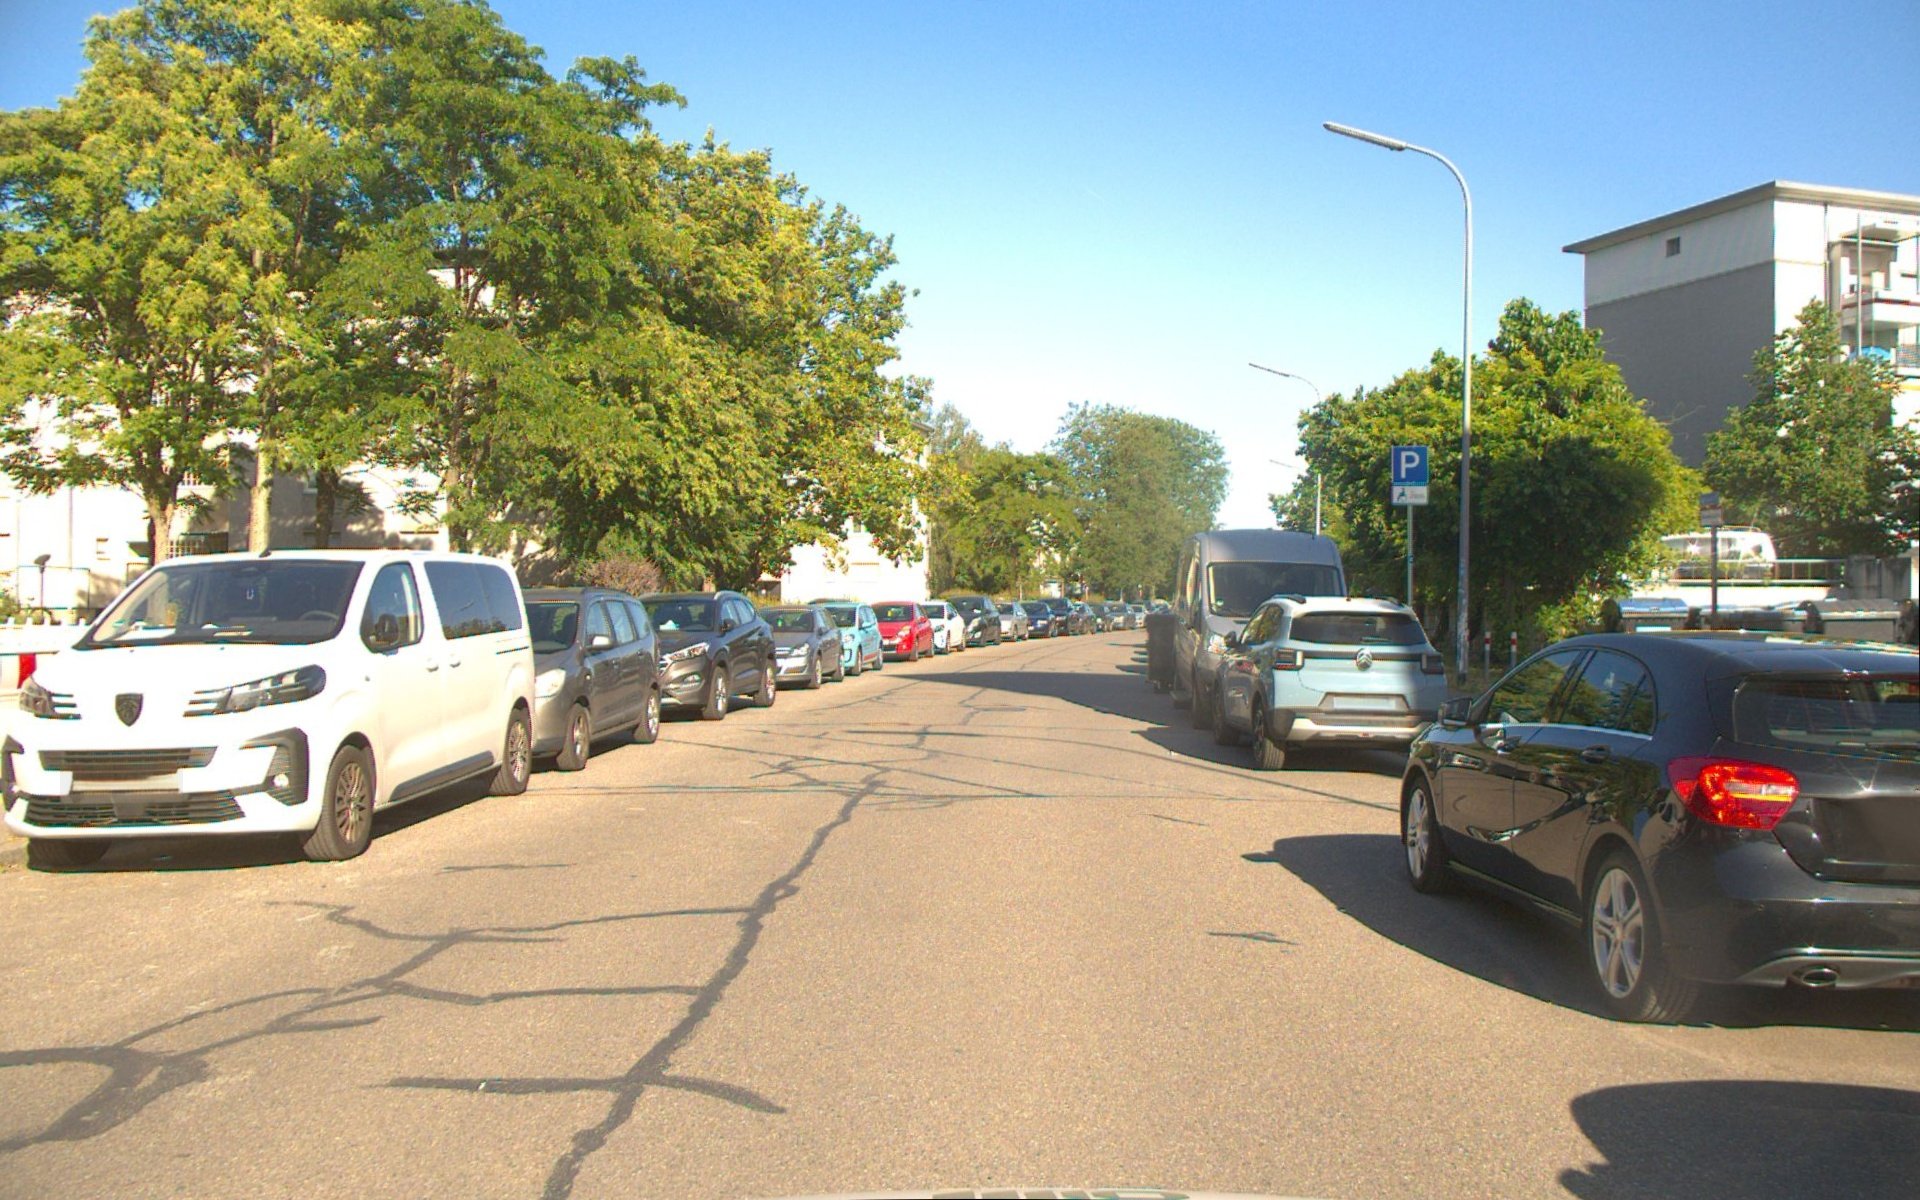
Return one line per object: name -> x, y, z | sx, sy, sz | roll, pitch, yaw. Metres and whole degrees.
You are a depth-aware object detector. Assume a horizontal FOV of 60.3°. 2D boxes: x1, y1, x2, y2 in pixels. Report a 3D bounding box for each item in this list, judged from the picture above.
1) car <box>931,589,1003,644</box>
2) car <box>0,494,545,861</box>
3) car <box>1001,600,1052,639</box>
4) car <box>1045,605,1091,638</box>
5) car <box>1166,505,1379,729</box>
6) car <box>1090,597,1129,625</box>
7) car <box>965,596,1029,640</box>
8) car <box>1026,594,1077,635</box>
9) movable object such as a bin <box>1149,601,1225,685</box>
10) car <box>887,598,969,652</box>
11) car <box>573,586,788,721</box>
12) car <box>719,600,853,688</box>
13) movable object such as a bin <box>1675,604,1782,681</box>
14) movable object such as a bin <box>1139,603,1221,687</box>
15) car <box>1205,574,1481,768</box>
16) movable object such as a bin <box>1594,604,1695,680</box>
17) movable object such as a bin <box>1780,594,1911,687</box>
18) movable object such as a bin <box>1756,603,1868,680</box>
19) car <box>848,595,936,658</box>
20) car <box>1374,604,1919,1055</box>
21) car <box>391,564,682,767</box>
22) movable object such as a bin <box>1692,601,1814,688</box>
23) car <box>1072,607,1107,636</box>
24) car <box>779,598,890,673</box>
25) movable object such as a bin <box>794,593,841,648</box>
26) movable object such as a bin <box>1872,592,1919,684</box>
car -> 0.270, 0.537, 54.054 | 1.634, 1.696, 4.410 | -1, -1, 10
car -> -4.415, 0.424, 11.339 | 1.825, 1.995, 4.672 | 0, 0, 2
car -> 2.684, 0.778, 66.039 | 1.625, 1.451, 4.052 | -1, -1, 7
car -> 5.020, 0.981, 76.437 | 1.624, 1.464, 3.763 | -2, -1, 11
car -> 3.984, 0.209, 22.095 | 2.060, 2.530, 5.858 | 2, 0, 4
car -> 8.227, 0.581, 90.990 | 1.477, 1.477, 3.693 | -2, -1, 15
car -> 1.385, 0.661, 60.425 | 1.624, 1.512, 4.056 | -2, -1, 11
car -> 3.972, 0.620, 71.345 | 1.624, 1.718, 4.052 | -1, -1, 11
movable object such as a bin -> 3.965, 0.735, 28.820 | 1.202, 1.421, 1.171 | 0, -1, 13
car -> -0.872, 0.703, 47.522 | 1.634, 1.446, 3.904 | -1, -1, 10
car -> -3.667, 0.656, 22.482 | 1.711, 1.646, 4.366 | 0, 0, 7
car -> -3.085, 0.762, 30.086 | 1.635, 1.462, 4.002 | -1, -1, 5
movable object such as a bin -> 13.704, 0.755, 29.555 | 1.382, 1.328, 1.383 | -1, -1, 9
movable object such as a bin -> 3.687, 0.740, 27.682 | 1.242, 1.336, 1.123 | -1, 1, 13
car -> 3.693, 0.637, 16.743 | 1.870, 1.695, 4.375 | 0, 0, 1
movable object such as a bin -> 12.298, 0.752, 29.769 | 1.382, 1.328, 1.383 | -1, -1, 9
movable object such as a bin -> 13.892, 0.624, 26.005 | 1.396, 1.397, 1.383 | -1, -1, 9
movable object such as a bin -> 15.104, 0.734, 29.367 | 1.382, 1.328, 1.383 | -1, -1, 9
car -> -1.690, 0.659, 42.151 | 1.635, 1.500, 3.681 | -1, -1, 7
car -> 3.381, 0.786, 7.752 | 1.870, 1.514, 4.375 | 0, 0, 1
car -> -4.037, 0.565, 16.485 | 1.523, 1.752, 4.342 | 0, 0, 4
movable object such as a bin -> 12.474, 0.689, 26.072 | 1.382, 1.328, 1.383 | -1, -1, 9
car -> 6.621, 1.085, 84.395 | 1.359, 1.438, 3.128 | -2, -1, 12
car -> -2.613, 0.737, 35.285 | 1.635, 1.500, 3.681 | -1, -1, 7
movable object such as a bin -> -4.060, 0.578, 47.147 | 1.087, 1.525, 1.409 | 0, 0, 6
movable object such as a bin -> 15.327, 0.575, 25.904 | 1.396, 1.397, 1.383 | -1, -1, 9
